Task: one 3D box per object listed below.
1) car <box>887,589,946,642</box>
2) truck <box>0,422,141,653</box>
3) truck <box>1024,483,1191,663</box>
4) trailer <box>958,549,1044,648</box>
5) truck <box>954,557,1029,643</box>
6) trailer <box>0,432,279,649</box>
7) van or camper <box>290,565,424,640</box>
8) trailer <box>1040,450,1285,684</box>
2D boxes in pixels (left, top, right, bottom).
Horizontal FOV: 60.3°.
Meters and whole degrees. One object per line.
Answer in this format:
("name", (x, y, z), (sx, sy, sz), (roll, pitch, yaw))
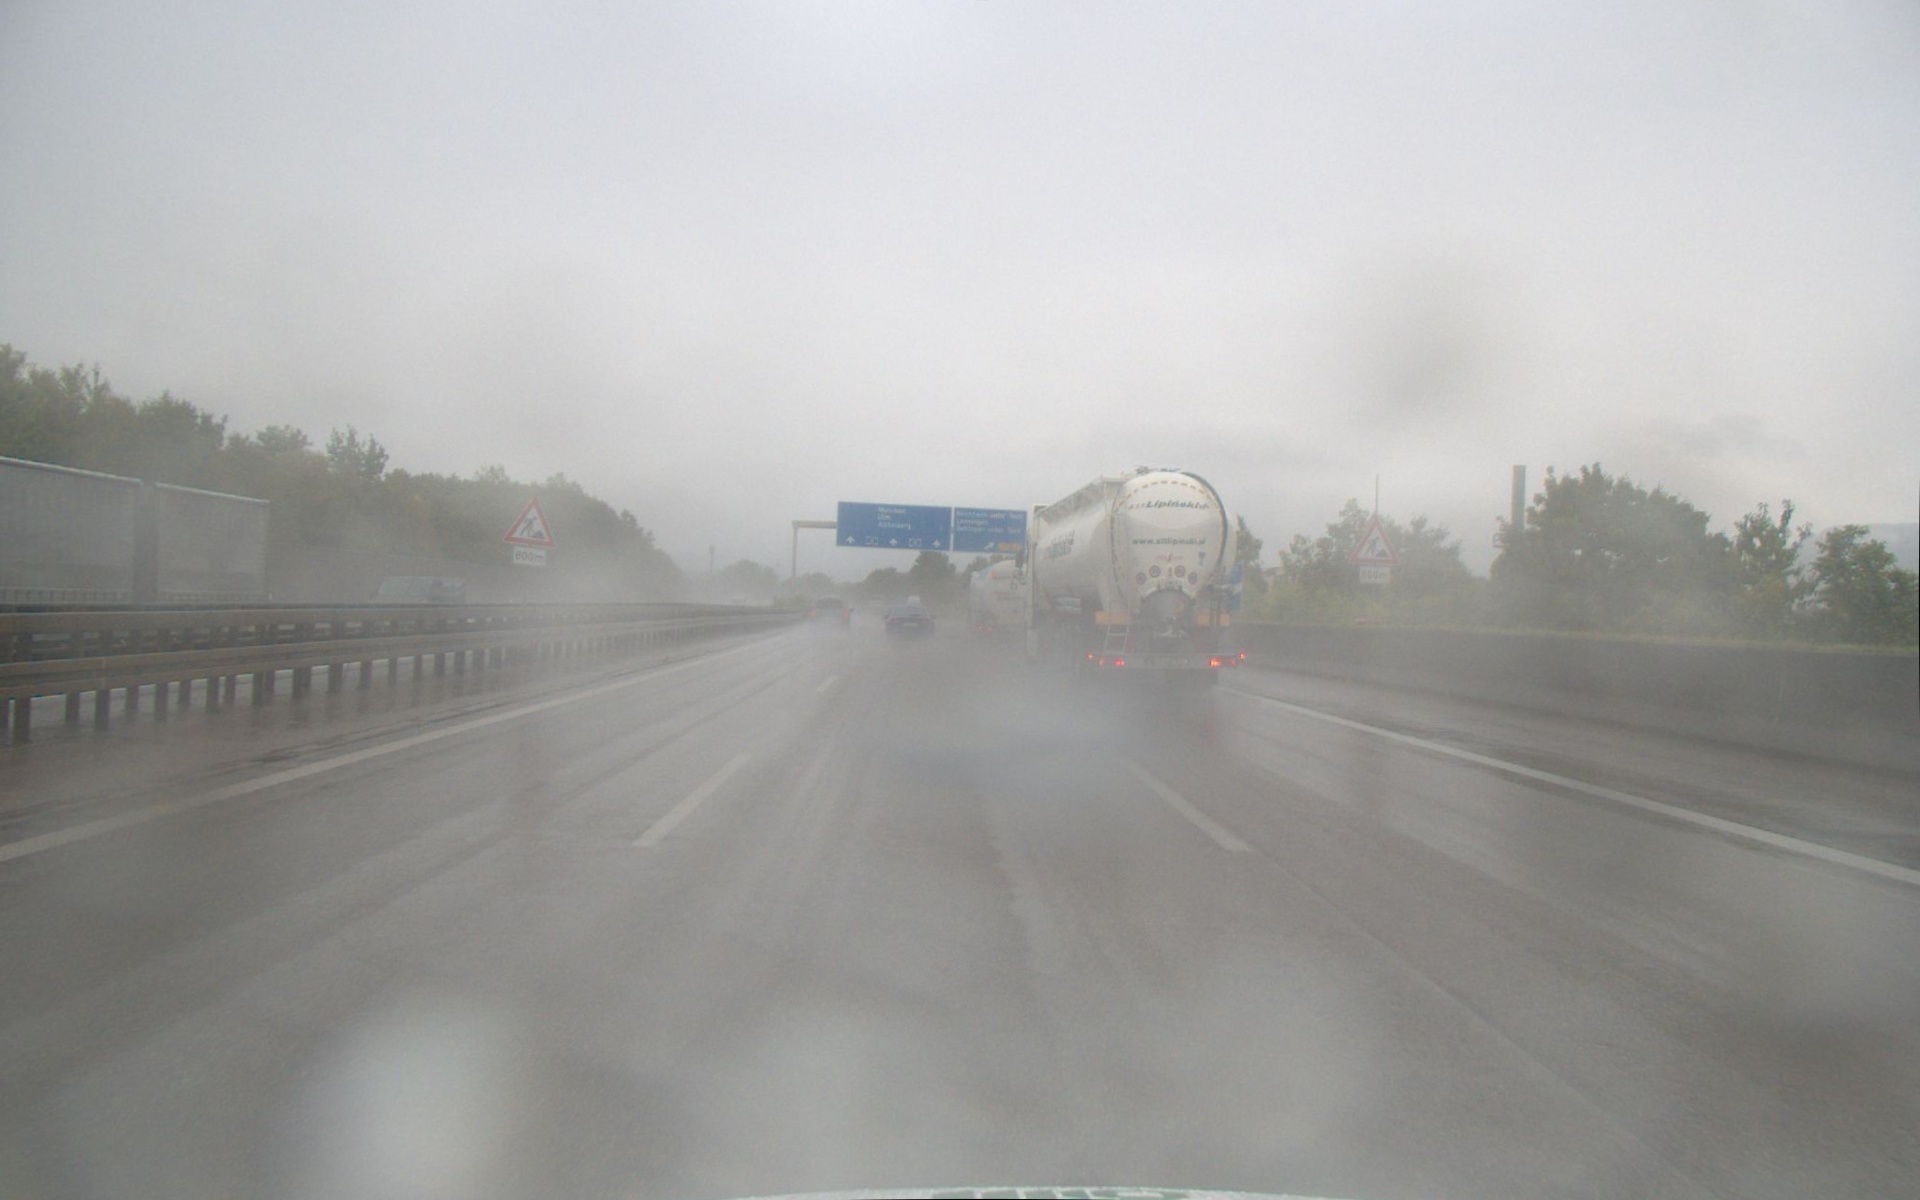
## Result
("car", (-1.516, 0.537, 59.676), (1.938, 1.787, 4.481), (1, 0, 1))
("truck", (-21.541, -1.313, 35.205), (3.759, 4.720, 9.487), (1, 0, -3))
("truck", (3.372, -0.593, 39.901), (3.042, 3.873, 7.209), (1, 0, -2))
("trailer", (1.665, -0.069, 70.785), (2.945, 3.915, 8.618), (1, 0, -3))
("truck", (1.359, -0.014, 75.936), (2.885, 3.749, 6.356), (1, 0, -4))
("trailer", (-21.880, -1.354, 42.846), (3.792, 4.777, 12.237), (1, 0, -3))
("van or camper", (-17.626, 0.081, 48.669), (1.953, 2.049, 5.669), (1, 0, -2))
("trailer", (3.580, -0.547, 32.720), (3.124, 3.734, 11.663), (1, 0, -1))
